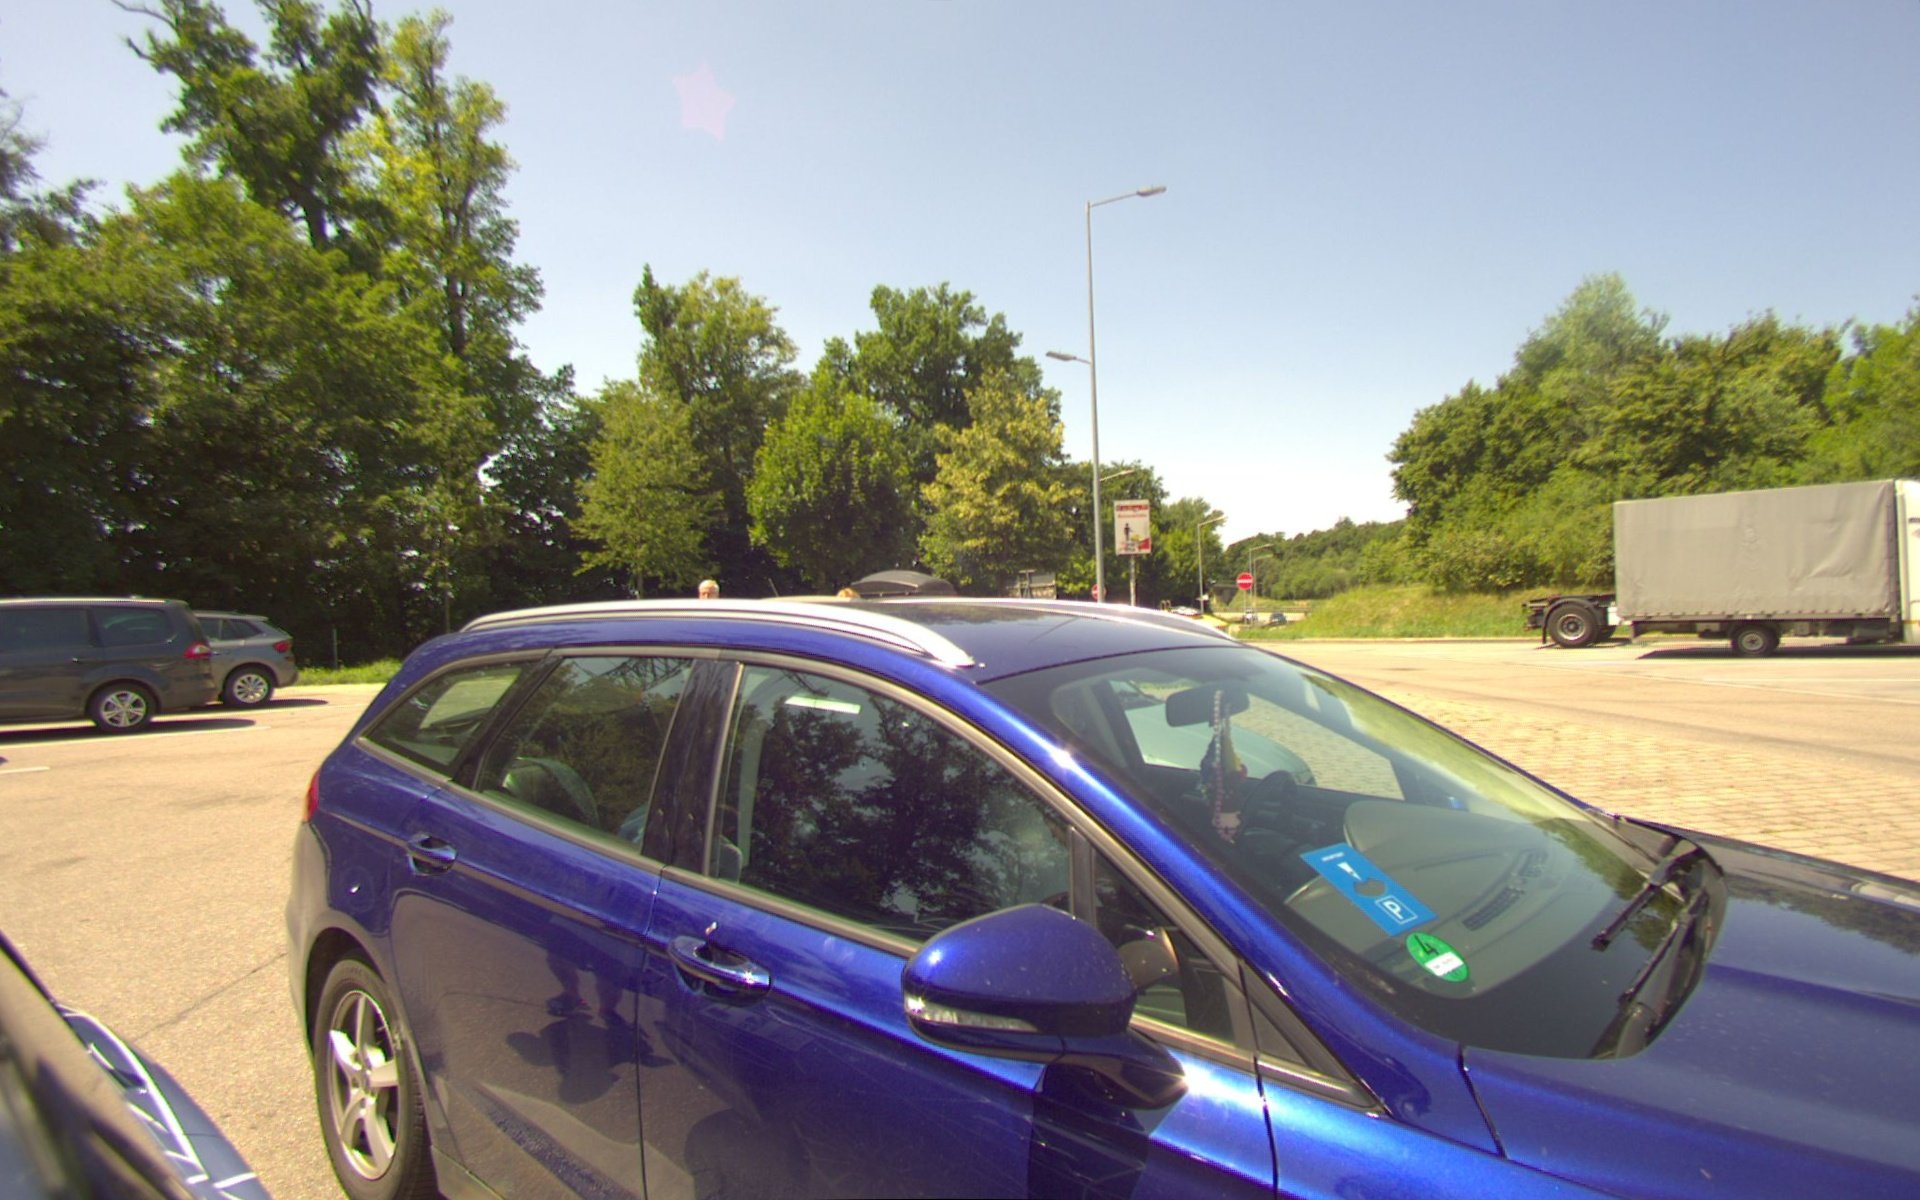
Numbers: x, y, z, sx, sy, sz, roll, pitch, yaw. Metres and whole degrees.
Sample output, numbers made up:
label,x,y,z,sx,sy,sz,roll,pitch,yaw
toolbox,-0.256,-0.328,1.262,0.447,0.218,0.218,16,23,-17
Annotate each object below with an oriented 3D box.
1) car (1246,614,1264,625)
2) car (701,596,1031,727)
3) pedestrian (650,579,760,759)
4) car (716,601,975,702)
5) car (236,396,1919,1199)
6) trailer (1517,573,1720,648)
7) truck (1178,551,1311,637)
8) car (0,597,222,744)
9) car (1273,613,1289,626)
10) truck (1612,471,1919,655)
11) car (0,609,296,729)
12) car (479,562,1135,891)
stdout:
label,x,y,z,sx,sy,sz,roll,pitch,yaw
car,43.302,2.863,148.583,1.978,1.530,3.988,-2,-1,9
car,-1.381,0.766,13.550,4.466,1.476,1.756,-3,-1,40
pedestrian,-2.415,0.627,9.572,0.759,1.614,0.663,-3,-1,41
car,-2.033,0.838,17.104,4.466,1.476,1.756,-3,-1,40
car,0.219,0.639,2.119,4.466,1.476,1.756,-3,-1,40
trailer,15.758,0.285,24.338,3.900,1.674,1.456,-2,-1,41
truck,13.312,-0.233,47.437,5.782,3.720,1.987,-2,-1,20
car,-11.704,0.856,12.574,3.910,1.701,1.782,-1,-1,-43
car,39.768,2.413,125.276,1.701,1.547,3.829,-2,-1,19
truck,16.749,-0.632,18.889,7.348,3.152,2.339,-3,-2,41
car,-12.732,0.982,15.625,3.910,1.598,1.782,-1,-1,-43
car,-1.261,0.639,6.671,4.466,1.476,1.756,-3,-1,40
